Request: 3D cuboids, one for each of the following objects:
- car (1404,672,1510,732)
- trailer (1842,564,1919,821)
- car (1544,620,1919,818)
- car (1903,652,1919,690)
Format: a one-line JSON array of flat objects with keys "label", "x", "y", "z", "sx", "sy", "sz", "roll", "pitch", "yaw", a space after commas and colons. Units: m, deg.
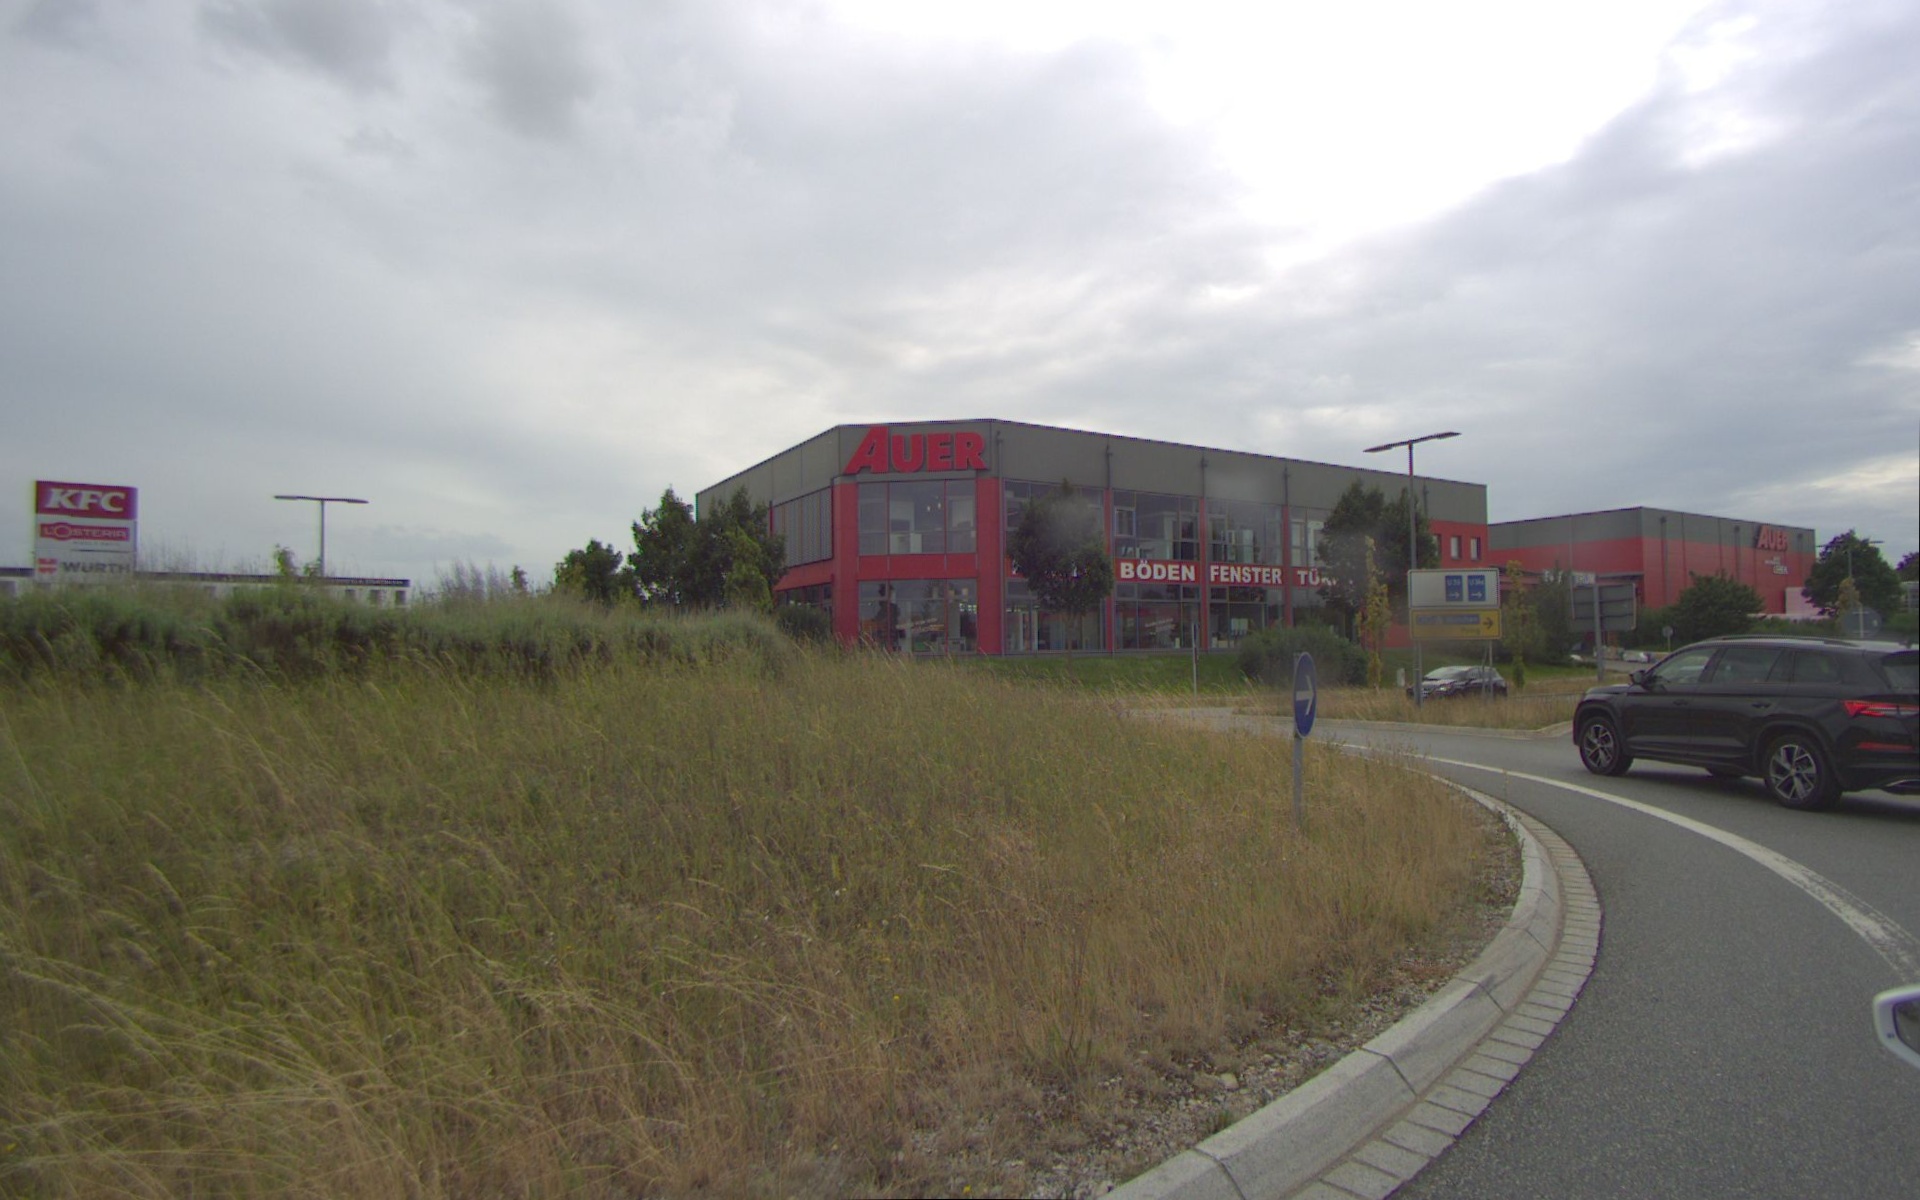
[{"label": "car", "x": 17.229, "y": 3.481, "z": 34.762, "sx": 3.917, "sy": 1.795, "sz": 1.664, "roll": 1, "pitch": -2, "yaw": -36}, {"label": "trailer", "x": 8.860, "y": 0.693, "z": 6.913, "sx": 1.777, "sy": 2.118, "sz": 4.146, "roll": 0, "pitch": -3, "yaw": -2}, {"label": "car", "x": 8.673, "y": 1.138, "z": 10.947, "sx": 1.782, "sy": 1.691, "sz": 4.616, "roll": 1, "pitch": -3, "yaw": -2}, {"label": "car", "x": 43.820, "y": 3.189, "z": 44.856, "sx": 3.964, "sy": 1.639, "sz": 1.892, "roll": 3, "pitch": -4, "yaw": -38}]
